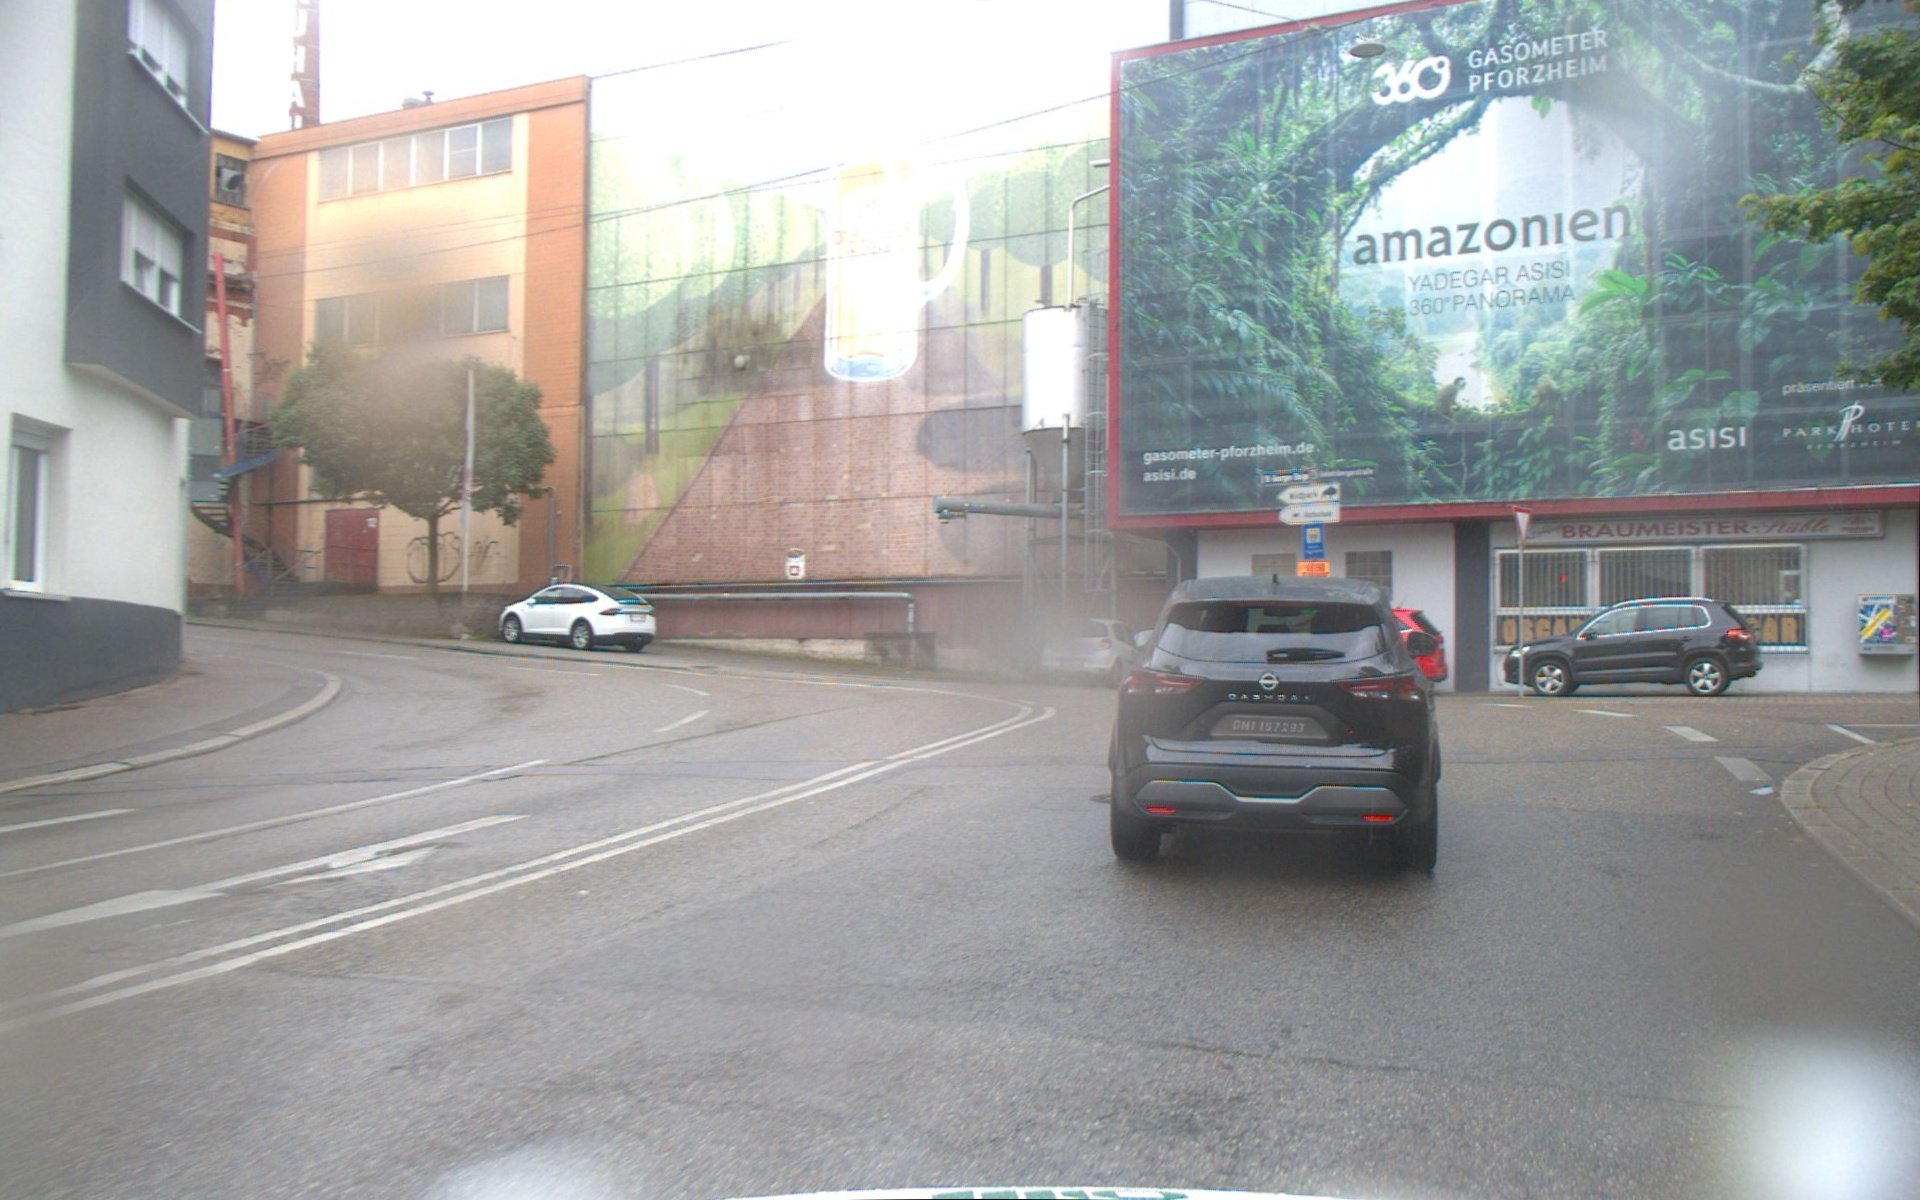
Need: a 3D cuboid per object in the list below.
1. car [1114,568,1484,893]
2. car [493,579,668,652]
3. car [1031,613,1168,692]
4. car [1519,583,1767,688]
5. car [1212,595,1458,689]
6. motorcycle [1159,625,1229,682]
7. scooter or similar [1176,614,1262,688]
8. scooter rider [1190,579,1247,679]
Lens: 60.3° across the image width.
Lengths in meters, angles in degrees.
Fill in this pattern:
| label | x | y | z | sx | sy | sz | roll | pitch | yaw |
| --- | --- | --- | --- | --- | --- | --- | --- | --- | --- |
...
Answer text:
| label | x | y | z | sx | sy | sz | roll | pitch | yaw |
| --- | --- | --- | --- | --- | --- | --- | --- | --- | --- |
| car | 2.062 | 0.619 | 10.355 | 1.841 | 1.621 | 3.925 | 0 | 1 | 10 |
| car | -10.206 | 0.407 | 44.324 | 4.820 | 1.645 | 1.851 | 3 | 0 | 37 |
| car | 3.127 | 1.107 | 36.358 | 1.832 | 1.560 | 3.991 | 0 | 0 | 24 |
| car | 12.207 | 0.657 | 29.563 | 3.910 | 1.741 | 1.930 | -2 | -2 | 28 |
| car | 7.360 | 0.819 | 32.499 | 4.391 | 1.742 | 1.930 | 0 | -2 | 28 |
| motorcycle | 4.888 | 1.118 | 34.514 | 1.388 | 1.181 | 0.452 | 0 | -3 | 15 |
| scooter or similar | 4.889 | 0.955 | 31.244 | 1.382 | 1.346 | 0.801 | -1 | -1 | 39 |
| scooter rider | 4.887 | 0.550 | 31.247 | 0.767 | 1.853 | 0.801 | -1 | -1 | 39 |
